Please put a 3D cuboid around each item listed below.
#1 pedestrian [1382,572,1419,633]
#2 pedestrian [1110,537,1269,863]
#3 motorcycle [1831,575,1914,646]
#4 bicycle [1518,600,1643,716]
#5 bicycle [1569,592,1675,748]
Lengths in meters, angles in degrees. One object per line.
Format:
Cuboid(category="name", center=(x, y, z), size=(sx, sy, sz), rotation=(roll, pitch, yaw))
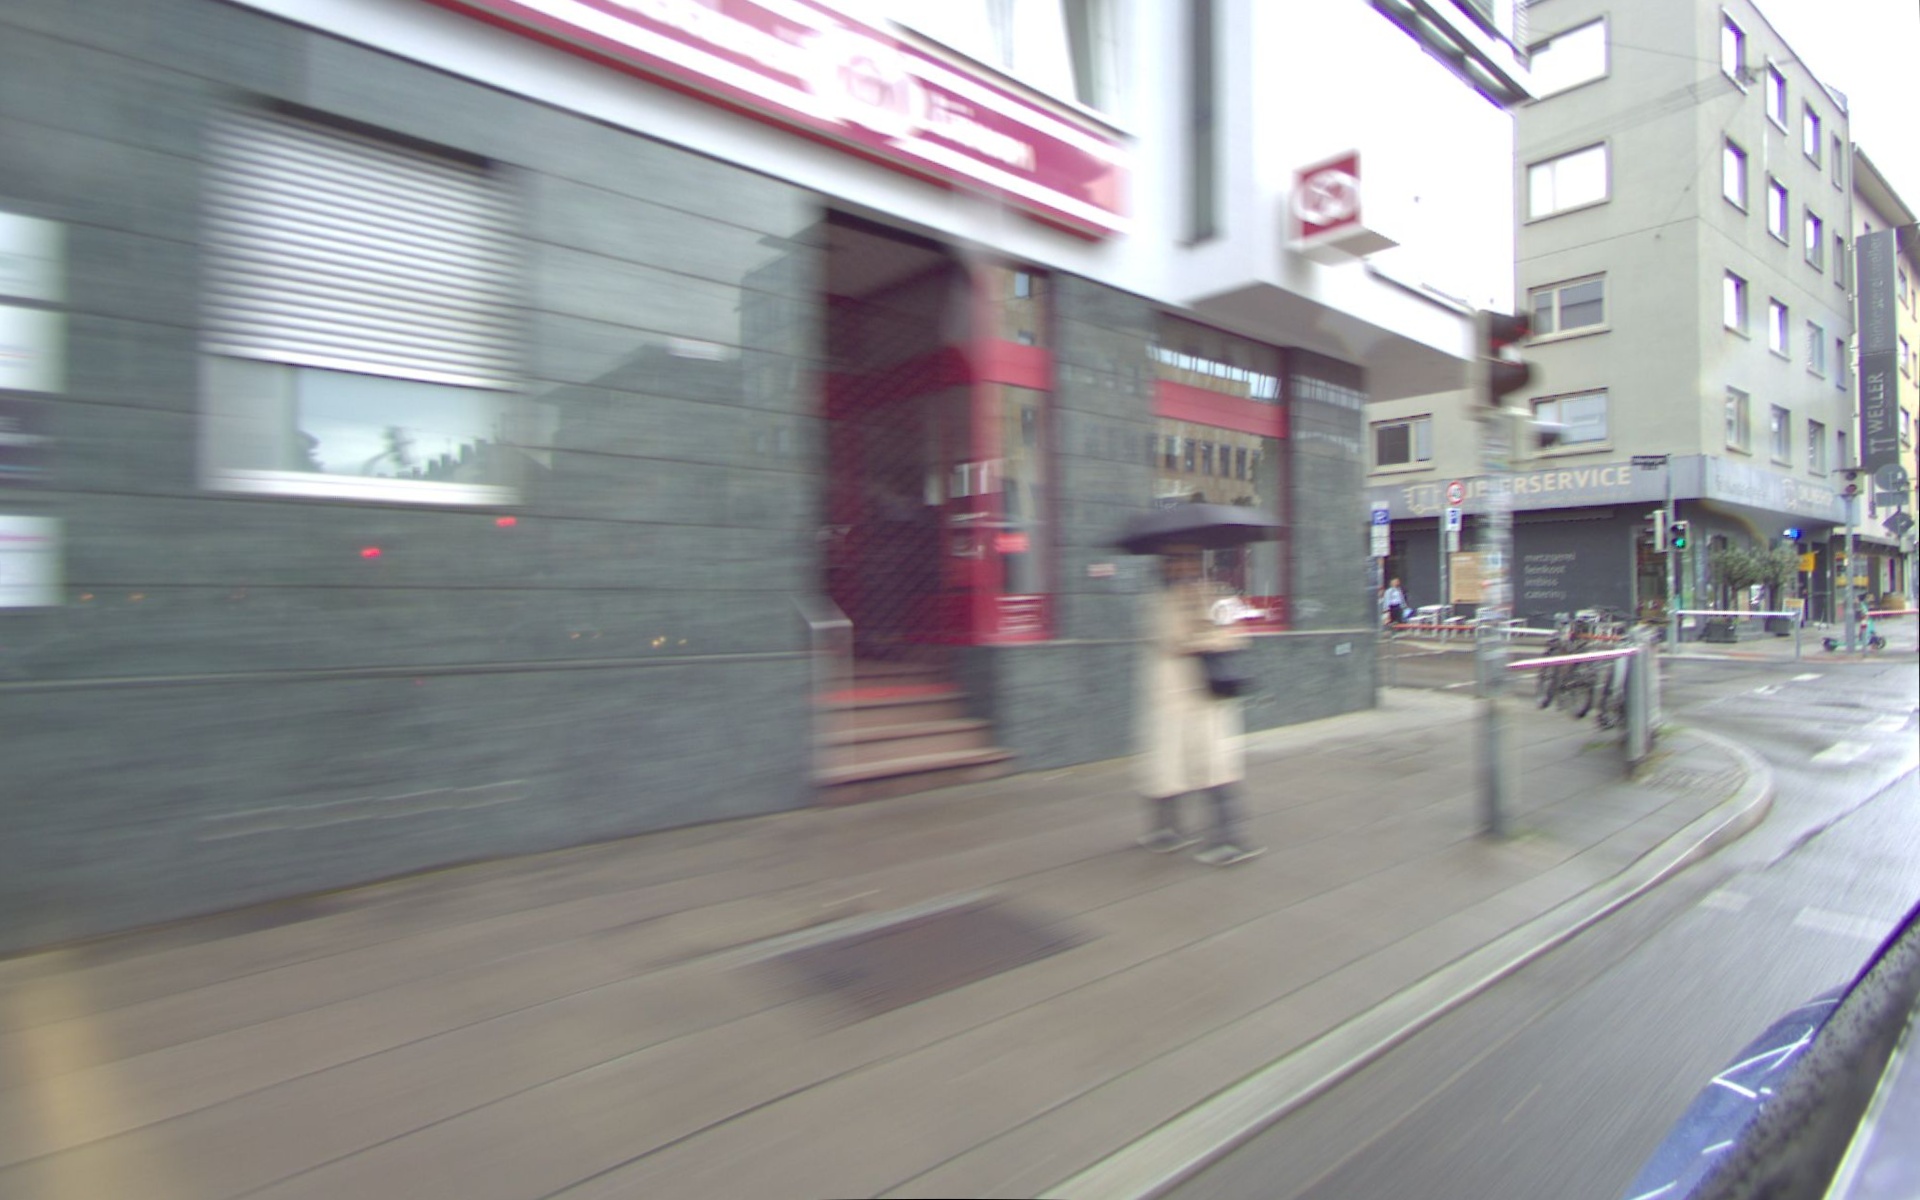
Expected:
Cuboid(category="pedestrian", center=(12.095, 0.051, 27.770), size=(0.845, 1.629, 0.549), rotation=(-3, 2, -37))
Cuboid(category="pedestrian", center=(1.257, 0.486, 5.470), size=(0.655, 1.602, 0.772), rotation=(0, 0, 28))
Cuboid(category="motorcycle", center=(19.576, 0.221, 21.722), size=(1.115, 1.479, 0.681), rotation=(0, 0, 14))
Cuboid(category="bicycle", center=(6.857, 0.595, 11.283), size=(0.569, 1.172, 1.949), rotation=(-1, 0, 13))
Cuboid(category="bicycle", center=(6.008, 0.573, 9.265), size=(0.493, 1.275, 1.940), rotation=(-1, 0, 25))
